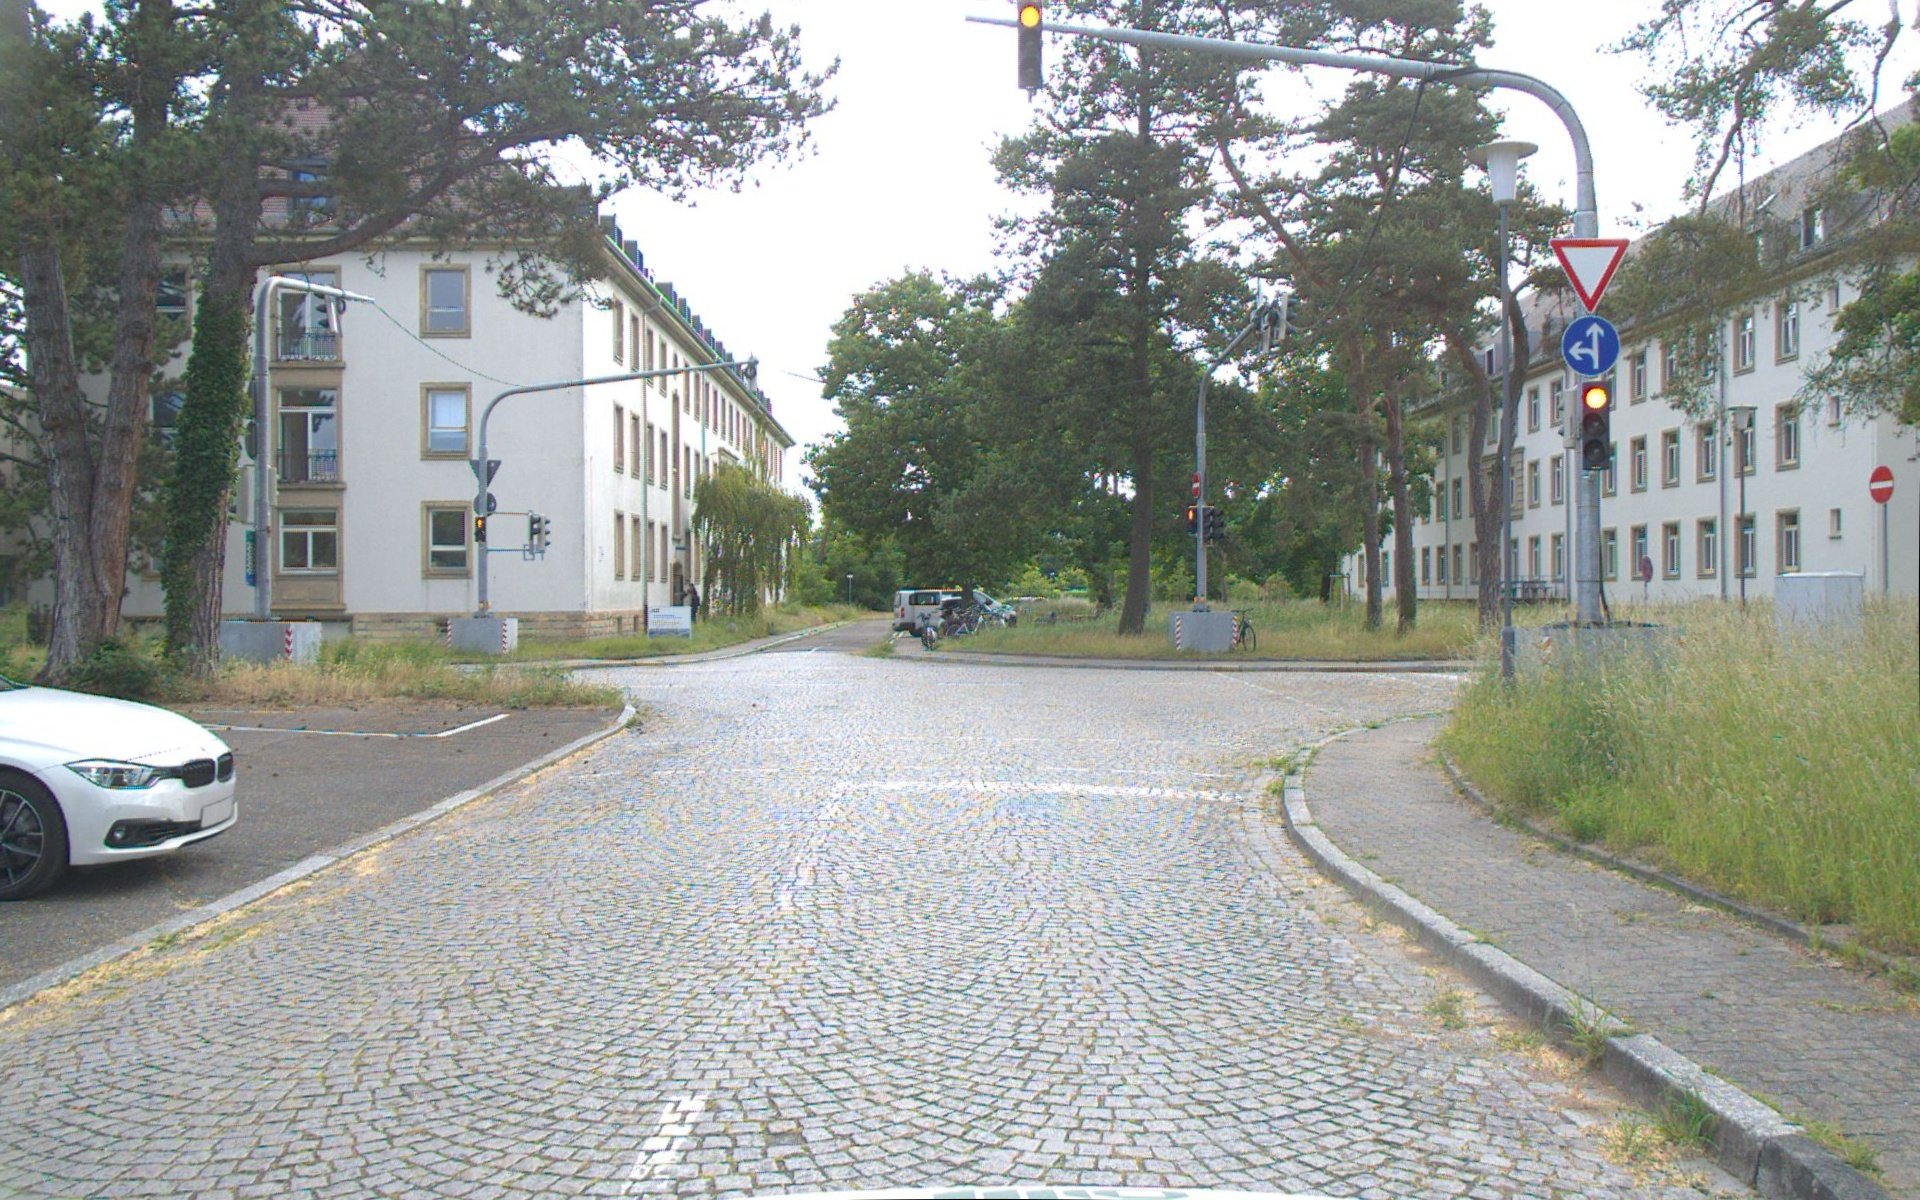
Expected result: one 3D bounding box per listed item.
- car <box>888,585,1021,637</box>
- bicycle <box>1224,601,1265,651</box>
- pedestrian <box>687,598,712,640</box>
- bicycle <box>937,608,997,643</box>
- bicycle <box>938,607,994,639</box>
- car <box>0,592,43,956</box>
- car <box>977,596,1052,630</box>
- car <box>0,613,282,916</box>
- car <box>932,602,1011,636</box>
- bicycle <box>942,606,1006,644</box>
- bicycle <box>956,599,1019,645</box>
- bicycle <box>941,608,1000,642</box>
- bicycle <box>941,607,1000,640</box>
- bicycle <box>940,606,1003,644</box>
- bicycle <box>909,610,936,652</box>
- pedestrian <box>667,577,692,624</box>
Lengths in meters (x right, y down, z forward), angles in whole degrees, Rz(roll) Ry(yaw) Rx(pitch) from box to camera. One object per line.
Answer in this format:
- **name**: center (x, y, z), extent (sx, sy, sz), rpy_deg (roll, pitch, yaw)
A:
- **car**: center (-0.234, 0.460, 69.018), extent (5.263, 1.958, 2.020), rpy_deg (-2, 0, -10)
- **bicycle**: center (6.693, 0.602, 38.959), extent (0.574, 1.125, 1.961), rpy_deg (0, 0, -1)
- **pedestrian**: center (-10.352, 0.753, 65.656), extent (0.757, 1.647, 0.741), rpy_deg (-1, 0, 10)
- **bicycle**: center (0.227, 0.803, 53.058), extent (1.935, 1.088, 0.582), rpy_deg (0, 0, -31)
- **bicycle**: center (0.216, 0.784, 58.094), extent (1.931, 1.088, 0.583), rpy_deg (0, 0, -26)
- **car**: center (-6.076, 0.689, 6.548), extent (3.870, 1.590, 1.649), rpy_deg (2, 0, -4)
- **car**: center (2.382, 0.554, 72.950), extent (3.168, 1.441, 1.724), rpy_deg (-1, 0, -4)
- **car**: center (-6.031, 0.789, 9.086), extent (3.868, 1.446, 1.650), rpy_deg (2, 0, -2)
- **car**: center (0.435, 0.743, 65.574), extent (2.948, 1.290, 1.533), rpy_deg (-1, 0, -7)
- **bicycle**: center (0.428, 0.757, 50.945), extent (1.918, 1.152, 0.587), rpy_deg (0, 0, -8)
- **bicycle**: center (0.872, 0.694, 52.418), extent (1.918, 1.408, 0.587), rpy_deg (0, 0, -8)
- **bicycle**: center (0.354, 0.802, 54.410), extent (1.935, 1.088, 0.582), rpy_deg (0, 0, -31)
- **bicycle**: center (0.357, 0.786, 55.765), extent (1.931, 1.088, 0.583), rpy_deg (0, 0, -26)
- **bicycle**: center (0.355, 0.780, 51.577), extent (1.918, 1.136, 0.587), rpy_deg (0, 0, -8)
- **bicycle**: center (-1.094, 0.873, 47.701), extent (0.591, 1.152, 1.959), rpy_deg (0, 0, -6)
- **pedestrian**: center (-11.271, 0.010, 66.454), extent (0.766, 1.869, 0.733), rpy_deg (0, 0, -32)
